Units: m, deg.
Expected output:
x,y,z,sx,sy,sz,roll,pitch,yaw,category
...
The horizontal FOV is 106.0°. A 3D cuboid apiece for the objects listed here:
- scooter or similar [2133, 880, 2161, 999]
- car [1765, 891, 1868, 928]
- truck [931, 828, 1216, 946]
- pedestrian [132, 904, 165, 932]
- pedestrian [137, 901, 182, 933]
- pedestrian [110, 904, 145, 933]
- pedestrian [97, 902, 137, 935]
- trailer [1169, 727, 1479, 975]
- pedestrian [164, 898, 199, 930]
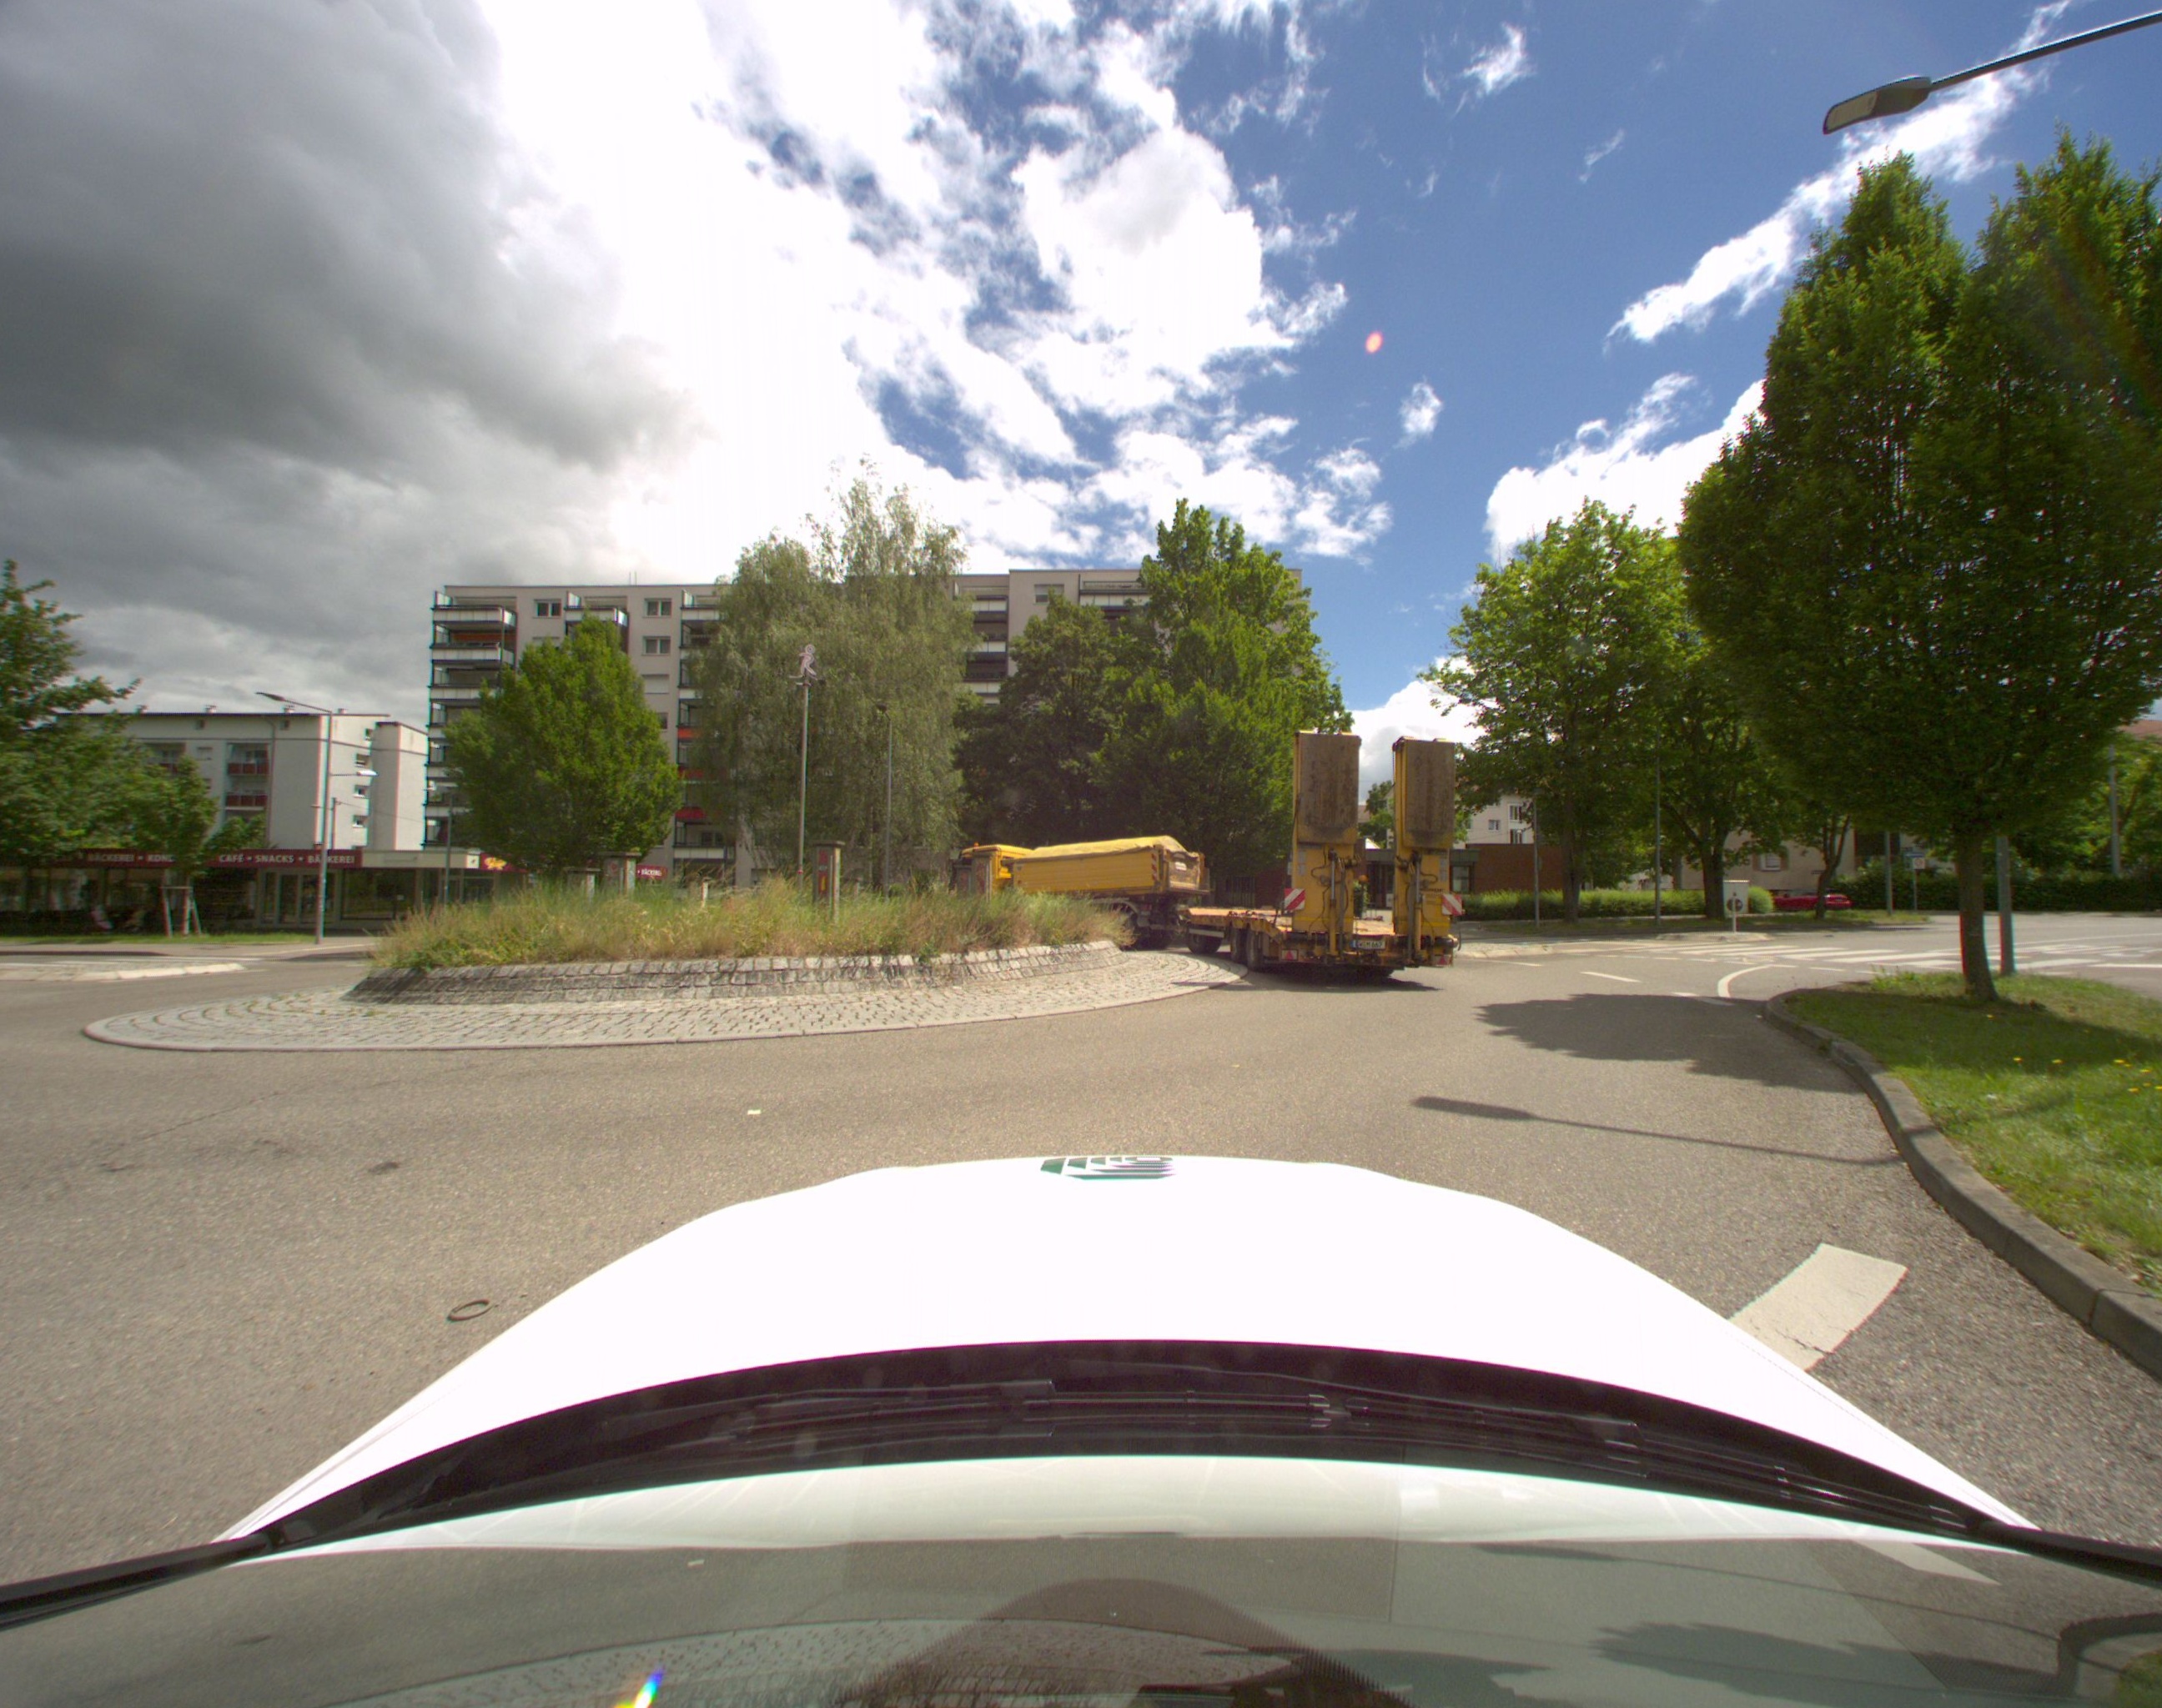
x,y,z,sx,sy,sz,roll,pitch,yaw,category
12.529,0.974,9.191,0.480,1.343,1.397,-3,-2,41,scooter or similar
42.215,3.146,46.867,2.013,1.942,3.983,2,-2,-12,car
-0.429,0.988,24.572,8.375,3.035,3.016,-2,-3,35,truck
-41.314,2.837,36.085,0.691,1.201,0.723,-1,-2,16,pedestrian
-39.972,2.731,35.340,0.817,1.325,0.881,2,-2,2,pedestrian
-41.577,2.812,35.520,0.691,1.201,0.723,-1,-2,16,pedestrian
-40.941,2.734,34.603,0.605,1.325,0.883,-1,-2,11,pedestrian
3.990,0.218,16.720,2.856,3.373,10.830,2,-3,-2,trailer
-39.979,2.662,36.203,0.692,1.381,0.722,-1,-2,9,pedestrian
